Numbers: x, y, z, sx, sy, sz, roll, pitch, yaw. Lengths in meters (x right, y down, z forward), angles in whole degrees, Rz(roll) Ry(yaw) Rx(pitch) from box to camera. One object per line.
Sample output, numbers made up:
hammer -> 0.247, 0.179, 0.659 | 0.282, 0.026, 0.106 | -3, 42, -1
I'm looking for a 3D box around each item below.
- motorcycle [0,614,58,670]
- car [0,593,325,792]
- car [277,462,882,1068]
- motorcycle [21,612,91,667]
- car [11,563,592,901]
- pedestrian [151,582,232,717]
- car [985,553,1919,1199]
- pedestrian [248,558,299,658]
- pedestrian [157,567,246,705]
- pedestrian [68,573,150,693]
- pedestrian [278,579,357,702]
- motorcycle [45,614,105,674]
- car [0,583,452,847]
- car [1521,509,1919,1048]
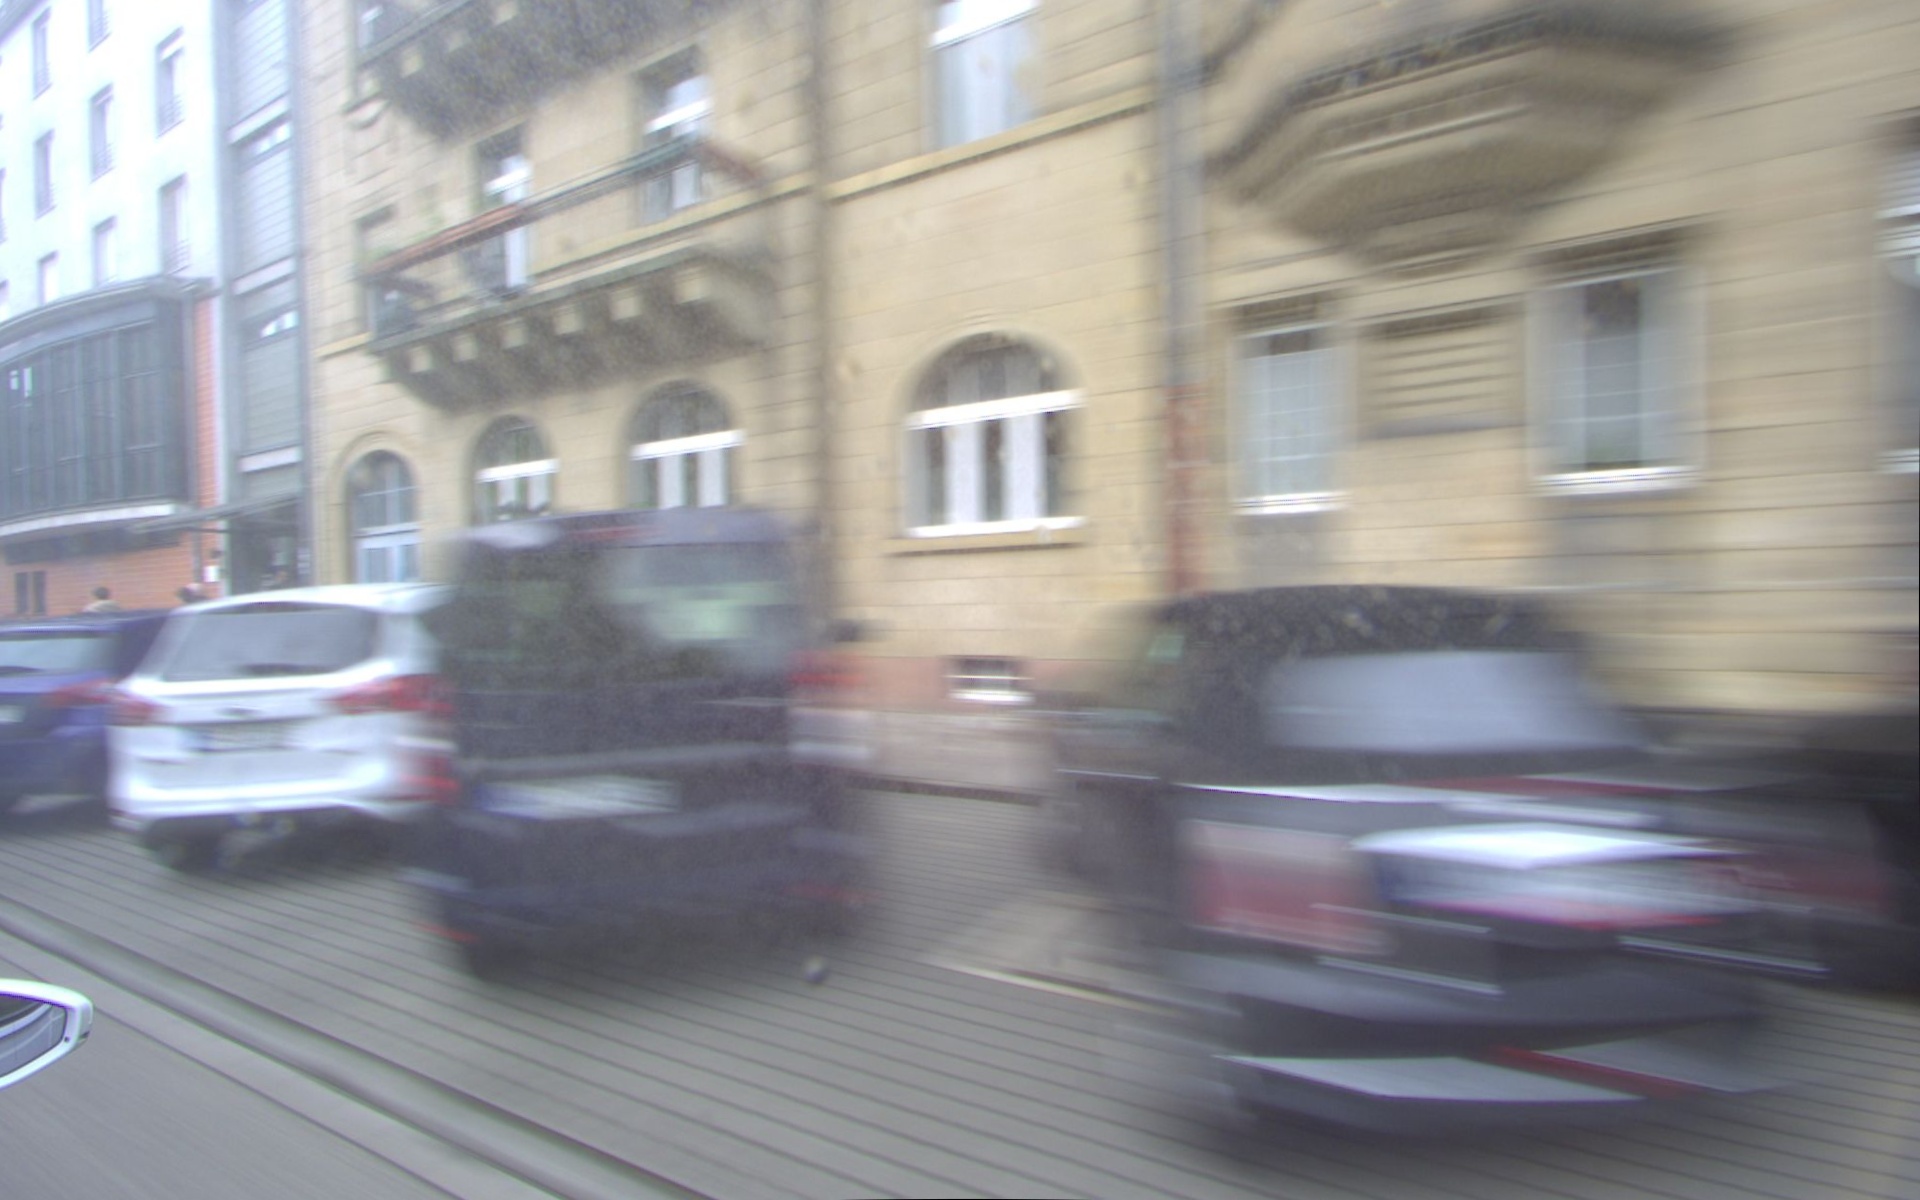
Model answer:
motorcycle -> -21.931, 0.950, 23.151 | 2.177, 1.219, 1.026 | -1, 1, 32
car -> -8.504, 0.770, 9.606 | 1.652, 1.499, 4.255 | 0, 3, 8
car -> -1.507, 0.438, 5.415 | 1.844, 1.933, 4.277 | -1, 2, -8
motorcycle -> -19.942, 0.855, 22.079 | 2.041, 1.159, 0.599 | -1, 1, 33
car -> -3.983, 0.579, 6.998 | 1.732, 1.624, 3.995 | -1, 3, -7
pedestrian -> -9.844, 0.625, 12.835 | 0.706, 1.684, 0.517 | -2, 1, 29
car -> 1.371, 0.581, 4.129 | 1.993, 1.474, 4.066 | -2, 3, -6
pedestrian -> -11.979, 0.145, 17.468 | 0.619, 1.711, 0.506 | -2, -1, 32
pedestrian -> -10.320, 0.482, 13.630 | 0.706, 1.822, 0.666 | -2, 1, 29
pedestrian -> -13.151, 0.497, 15.485 | 0.799, 1.778, 0.628 | 0, 3, 29
pedestrian -> -8.255, 0.513, 12.868 | 0.706, 1.530, 0.517 | -2, 1, 29
motorcycle -> -18.275, 0.881, 20.712 | 0.594, 1.159, 1.871 | -2, 1, -32
car -> -6.304, 0.704, 8.324 | 1.894, 1.555, 3.996 | -1, 3, 3
car -> 3.742, 0.508, 2.530 | 1.816, 1.573, 4.463 | -1, 1, -6
